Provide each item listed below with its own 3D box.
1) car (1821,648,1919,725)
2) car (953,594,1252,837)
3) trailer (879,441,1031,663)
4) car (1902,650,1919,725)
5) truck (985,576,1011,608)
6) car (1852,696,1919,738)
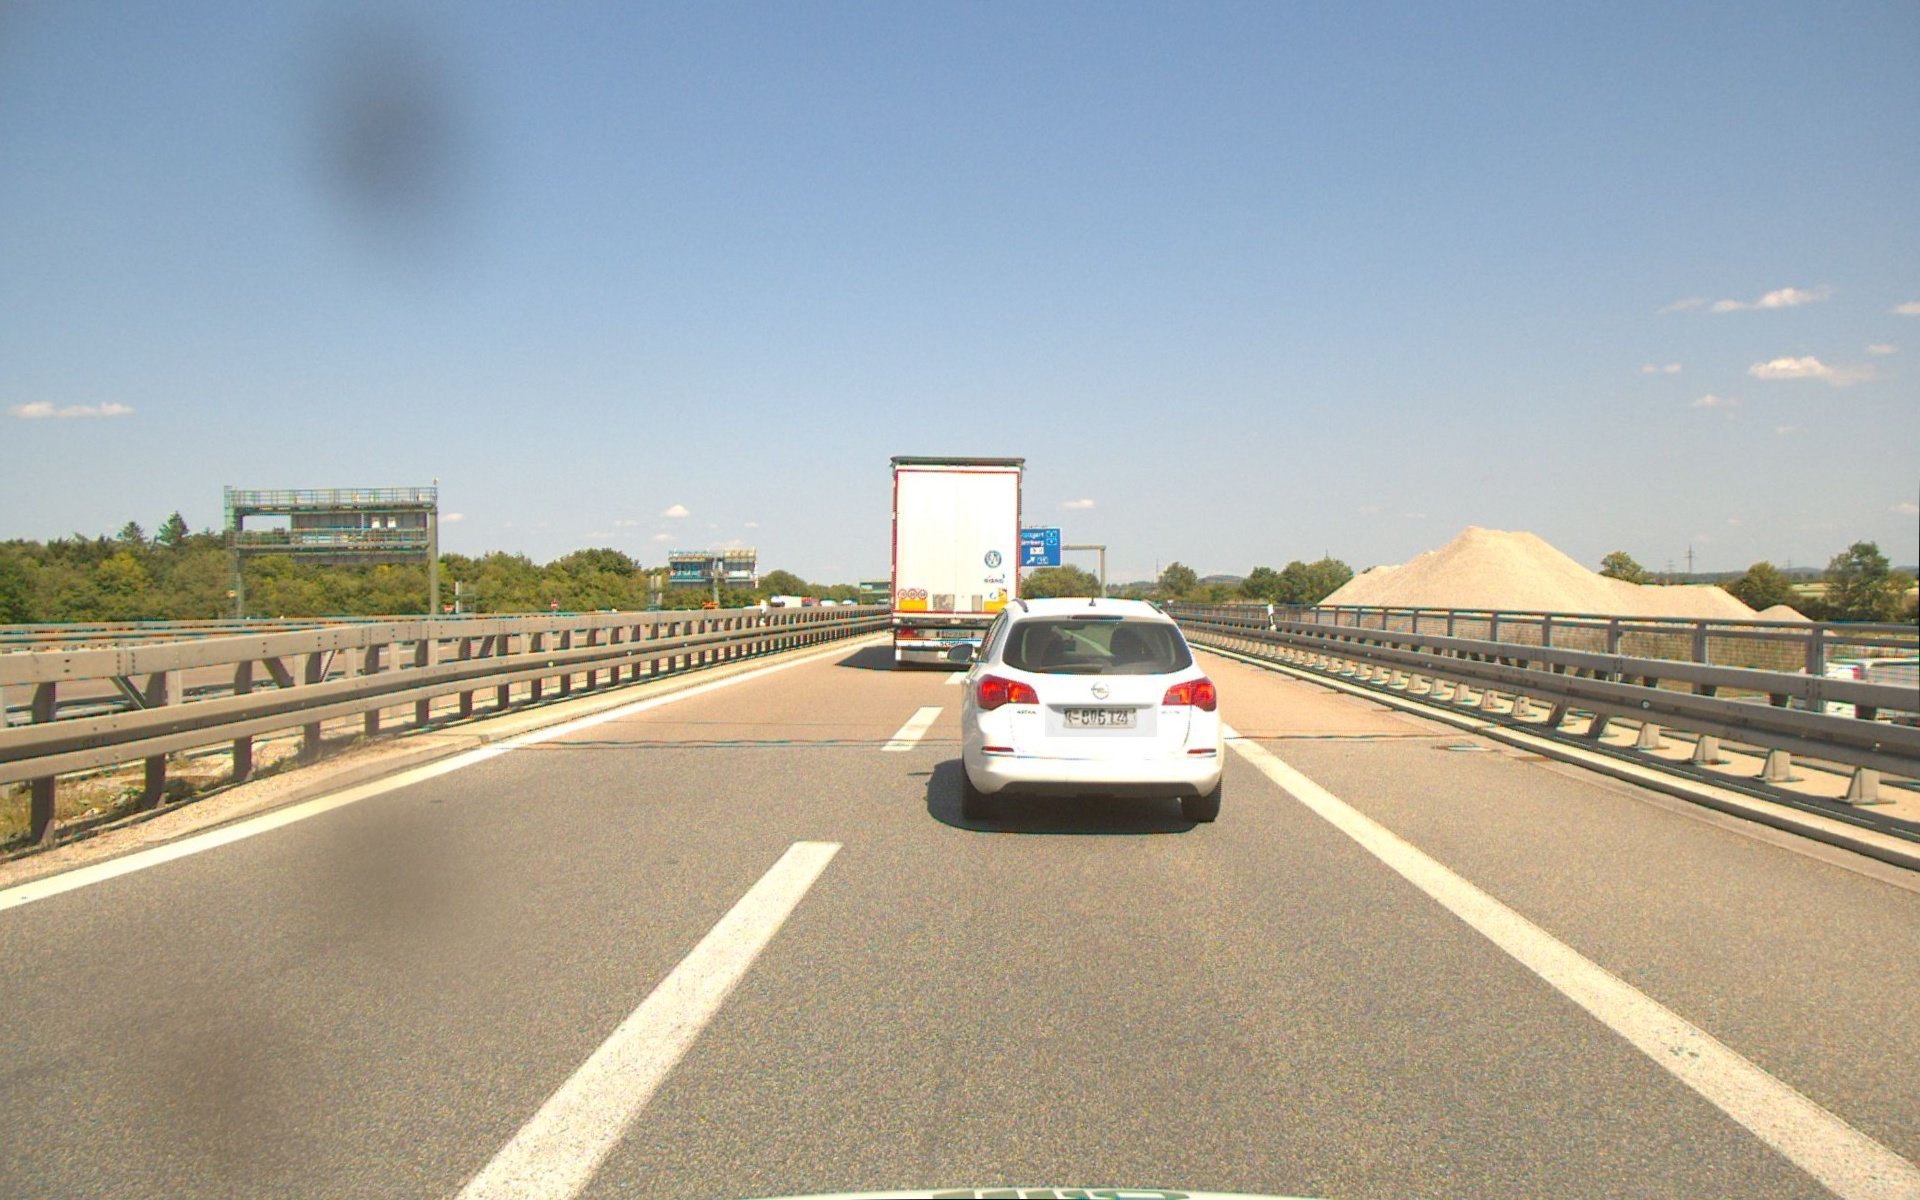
[{"bbox_3d":[49.945,4.697,89.920,5.046,4.033,2.479,1,-1,-8],"label":"car"},{"bbox_3d":[0.948,0.715,12.305,1.816,1.468,4.373,0,0,2],"label":"car"},{"bbox_3d":[-0.135,-0.829,37.371,2.853,4.218,11.255,1,-1,0],"label":"trailer"},{"bbox_3d":[58.579,4.925,91.126,12.725,4.033,2.478,1,-1,-8],"label":"car"},{"bbox_3d":[5.456,-1.095,234.157,3.466,4.218,11.259,3,-1,2],"label":"truck"},{"bbox_3d":[49.543,6.148,86.950,4.312,2.049,1.997,1,-1,-8],"label":"car"}]
